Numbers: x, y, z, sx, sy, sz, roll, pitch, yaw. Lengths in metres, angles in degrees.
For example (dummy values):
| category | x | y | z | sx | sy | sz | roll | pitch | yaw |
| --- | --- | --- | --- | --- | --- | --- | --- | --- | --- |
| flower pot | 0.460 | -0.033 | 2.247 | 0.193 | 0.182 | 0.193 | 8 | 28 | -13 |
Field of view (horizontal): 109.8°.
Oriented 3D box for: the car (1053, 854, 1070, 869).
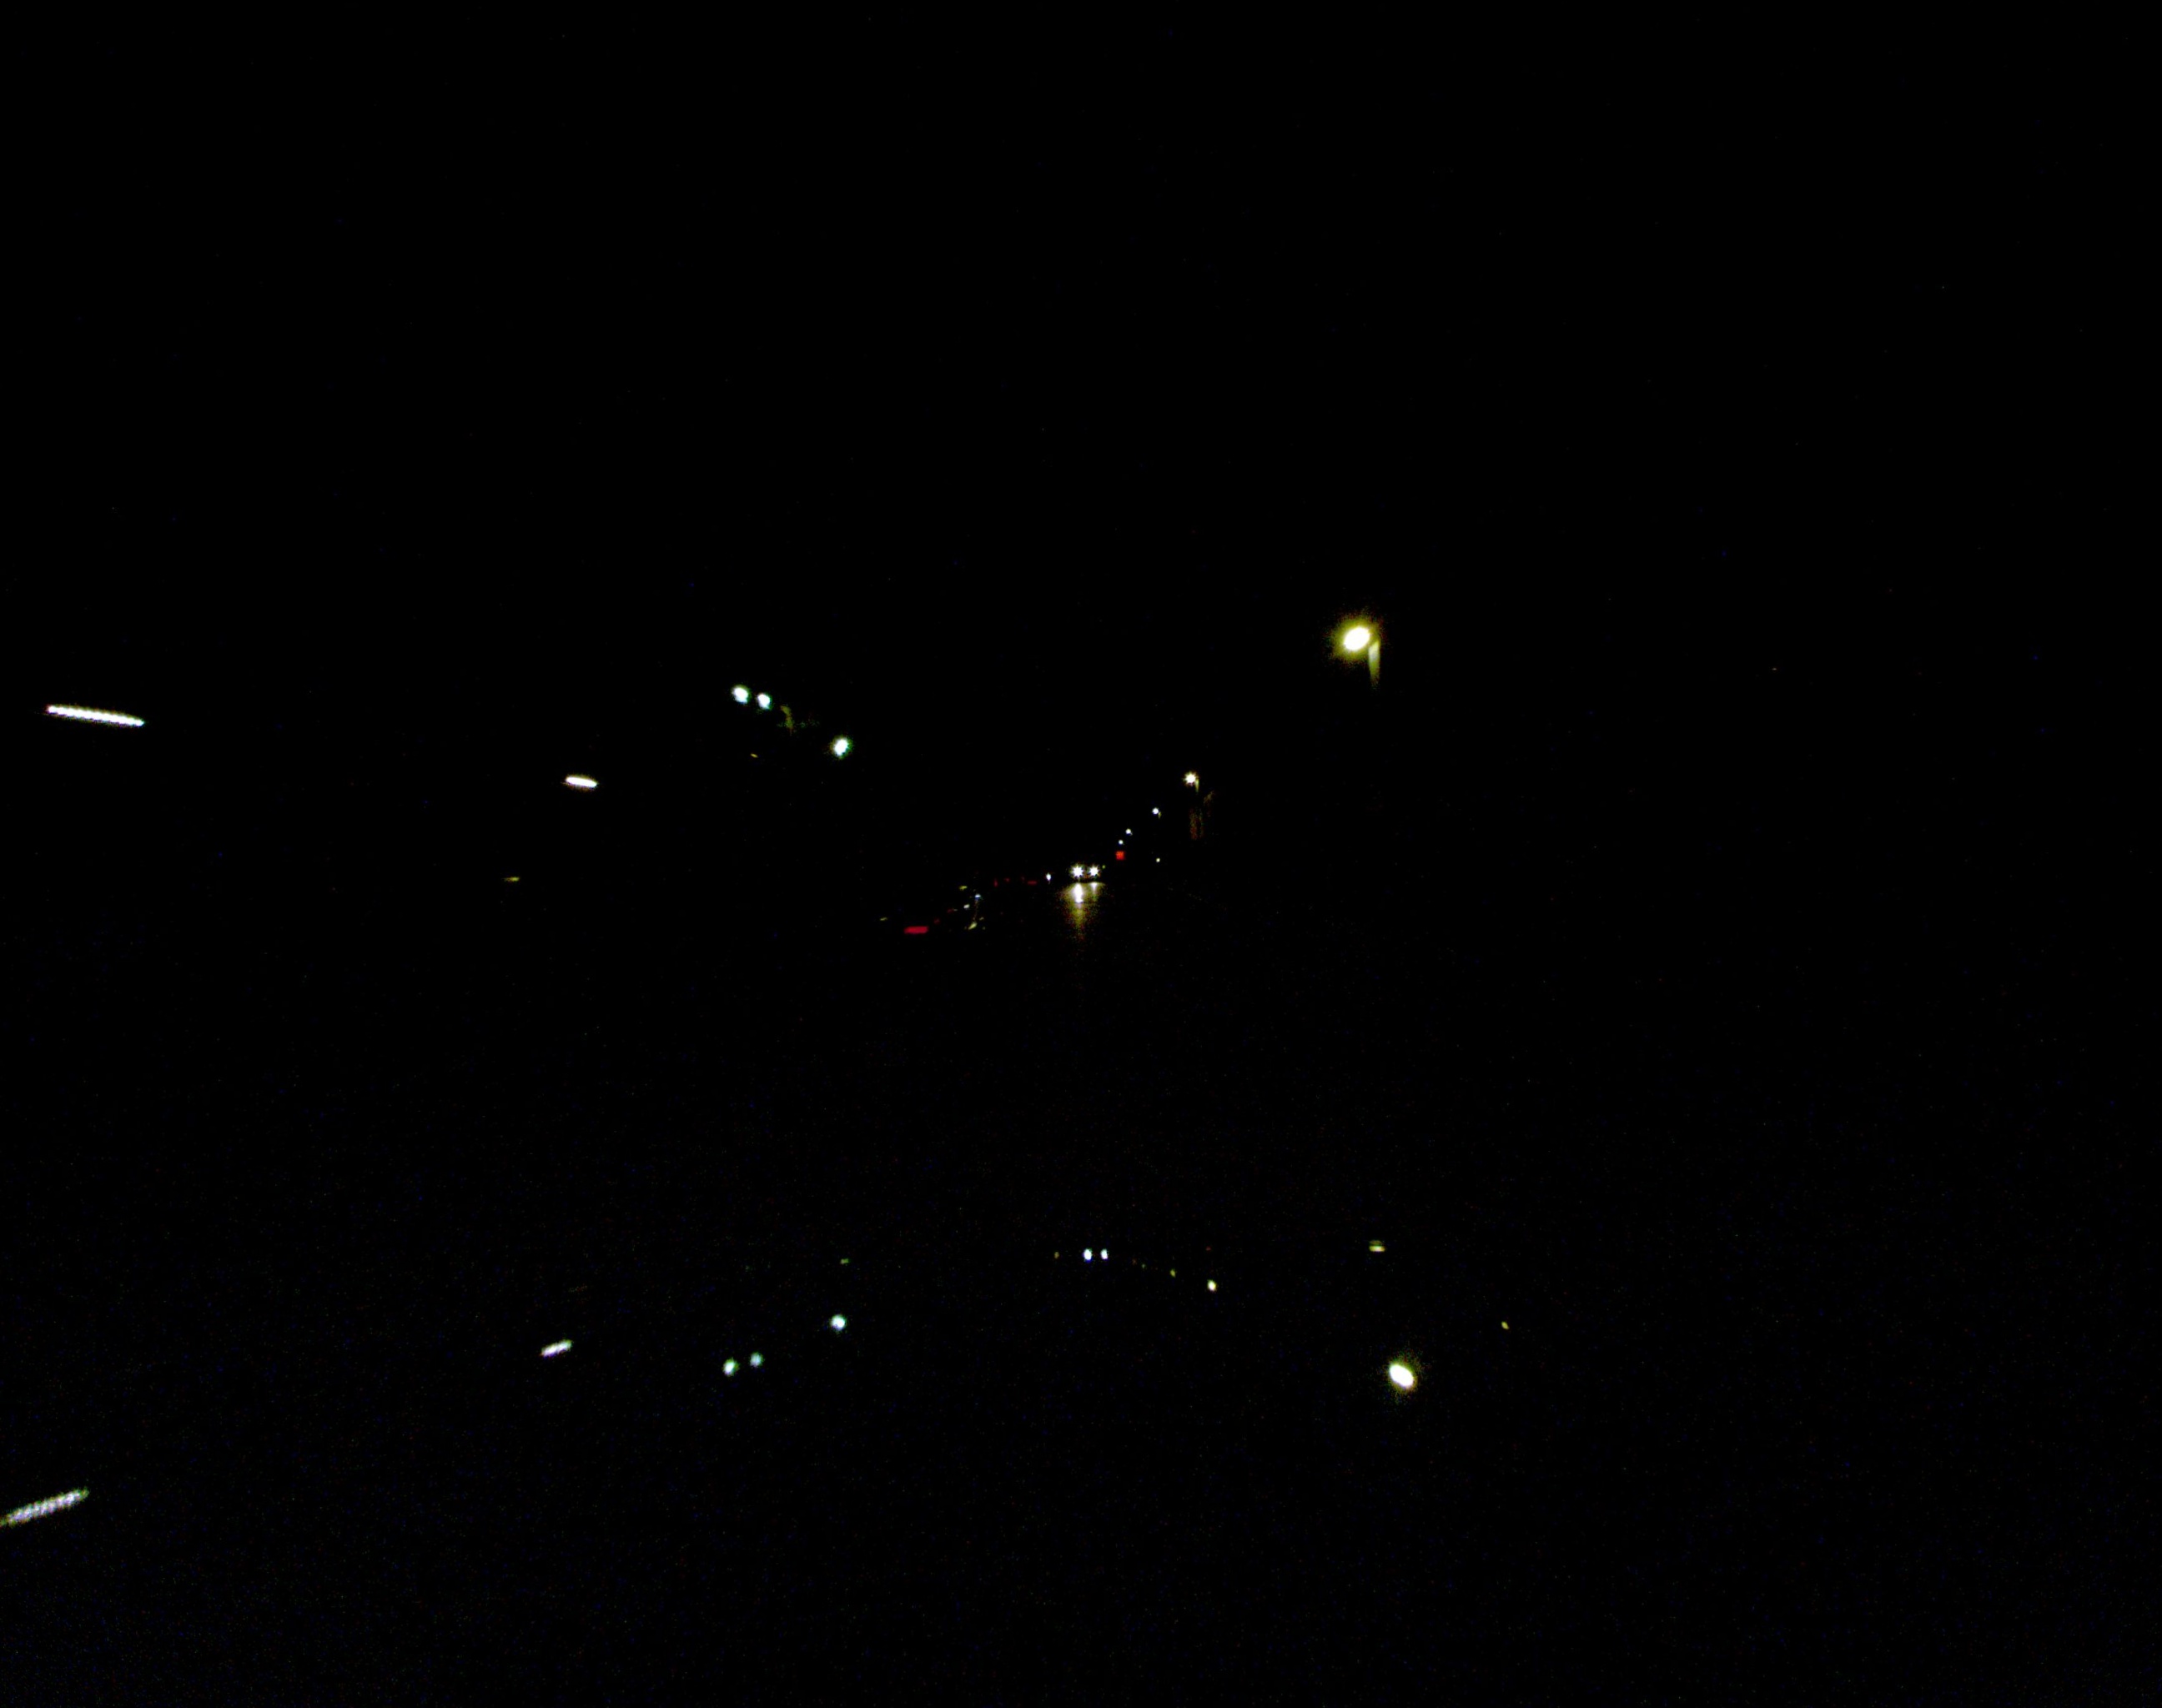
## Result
| category | x | y | z | sx | sy | sz | roll | pitch | yaw |
| --- | --- | --- | --- | --- | --- | --- | --- | --- | --- |
| car | -2.078 | 0.777 | 81.248 | 1.702 | 1.447 | 3.713 | -2 | 0 | 0 |

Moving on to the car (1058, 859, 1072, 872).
| category | x | y | z | sx | sy | sz | roll | pitch | yaw |
| --- | --- | --- | --- | --- | --- | --- | --- | --- | --- |
| car | -2.048 | 1.458 | 96.141 | 1.702 | 1.447 | 3.713 | -2 | 0 | 0 |

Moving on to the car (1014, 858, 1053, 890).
| category | x | y | z | sx | sy | sz | roll | pitch | yaw |
| --- | --- | --- | --- | --- | --- | --- | --- | --- | --- |
| car | -2.349 | 0.978 | 38.129 | 1.702 | 1.447 | 3.713 | -2 | 0 | 0 |

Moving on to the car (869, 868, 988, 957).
| category | x | y | z | sx | sy | sz | roll | pitch | yaw |
| --- | --- | --- | --- | --- | --- | --- | --- | --- | --- |
| car | -2.942 | 1.083 | 15.369 | 1.656 | 1.465 | 3.517 | -2 | 0 | 0 |

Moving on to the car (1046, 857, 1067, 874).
| category | x | y | z | sx | sy | sz | roll | pitch | yaw |
| --- | --- | --- | --- | --- | --- | --- | --- | --- | --- |
| car | -2.157 | 1.024 | 68.236 | 1.702 | 1.447 | 3.713 | -2 | 0 | 0 |

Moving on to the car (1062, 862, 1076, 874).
| category | x | y | z | sx | sy | sz | roll | pitch | yaw |
| --- | --- | --- | --- | --- | --- | --- | --- | --- | --- |
| car | -1.556 | 1.864 | 100.590 | 1.702 | 1.447 | 3.713 | -2 | 0 | 0 |

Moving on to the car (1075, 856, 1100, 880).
| category | x | y | z | sx | sy | sz | roll | pitch | yaw |
| --- | --- | --- | --- | --- | --- | --- | --- | --- | --- |
| car | 0.418 | 0.906 | 51.793 | 1.627 | 1.495 | 3.550 | -2 | 0 | 0 |
